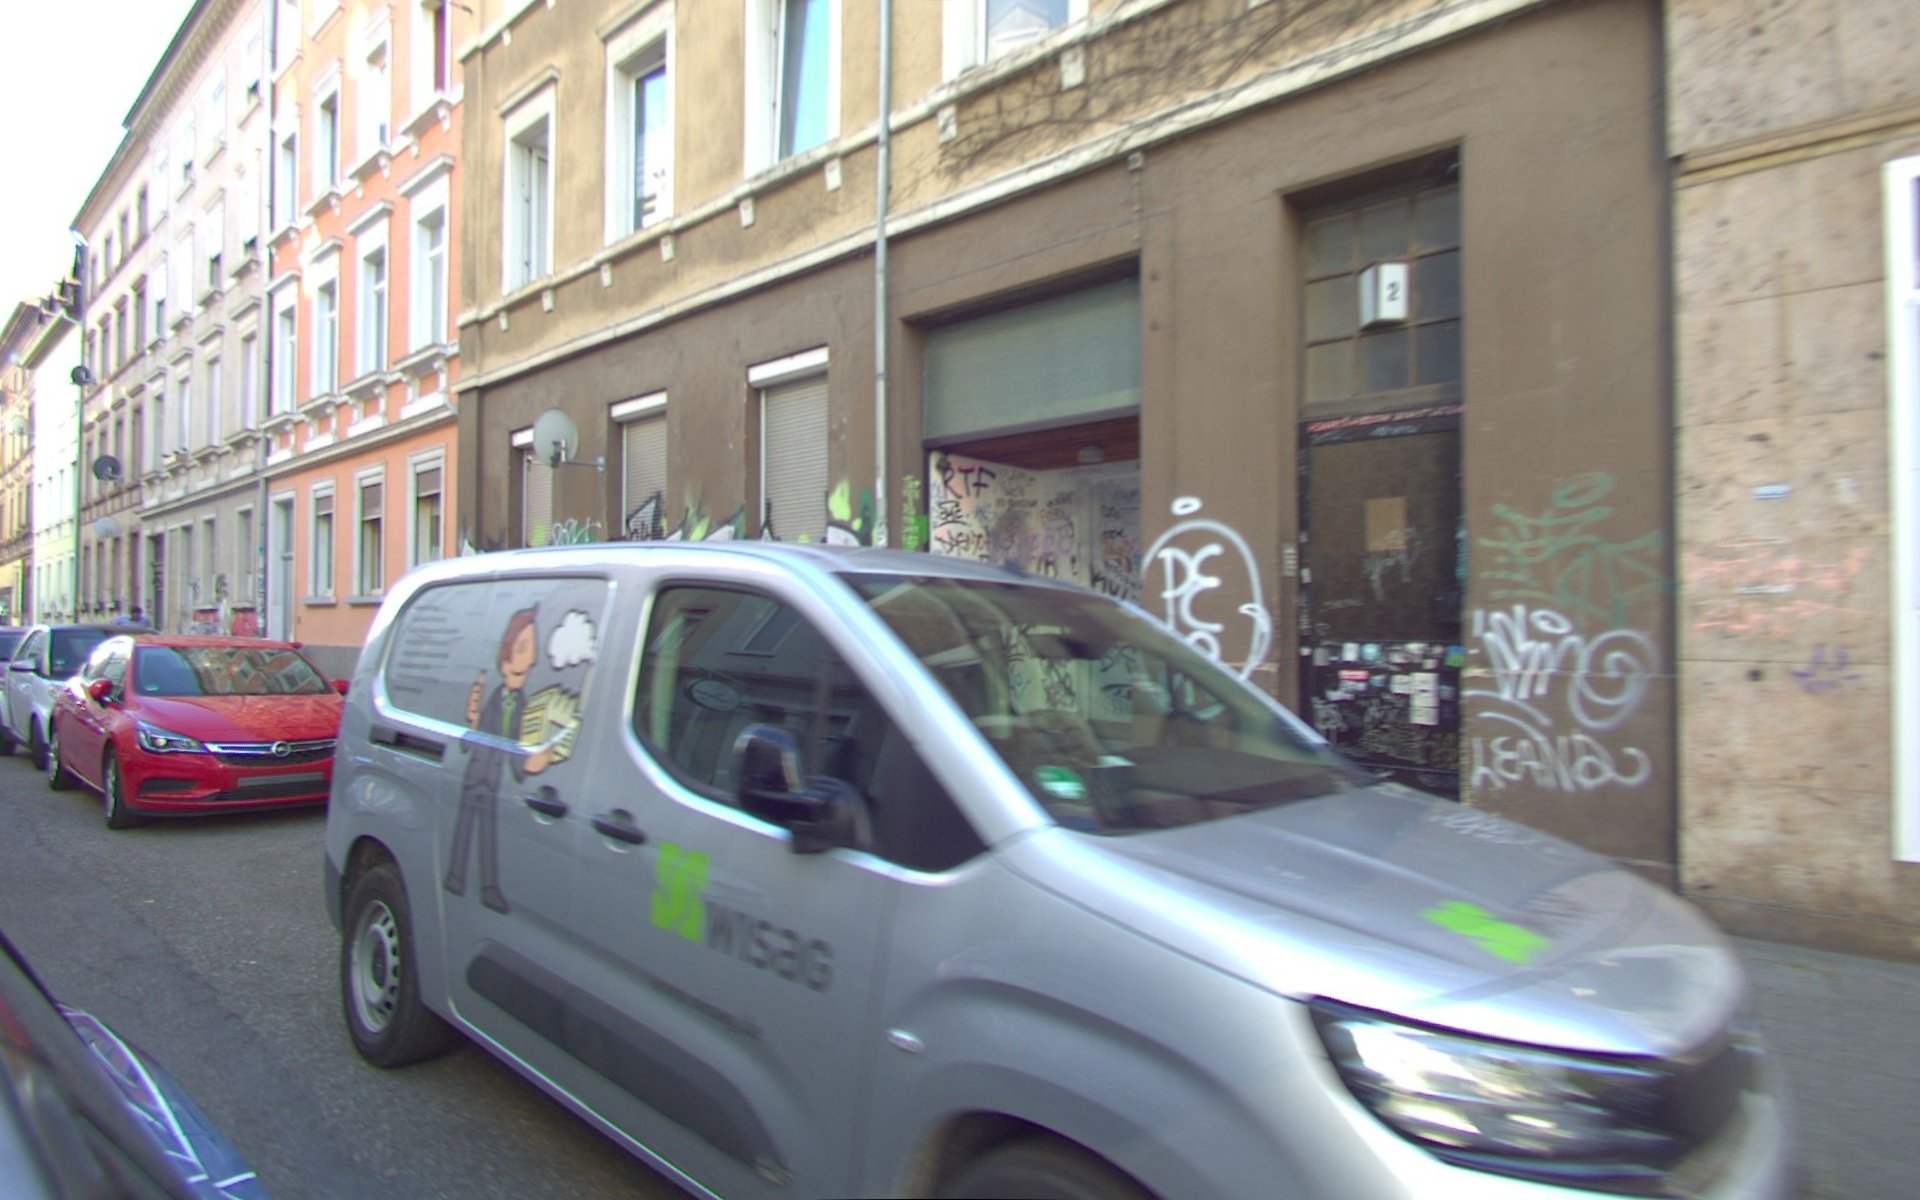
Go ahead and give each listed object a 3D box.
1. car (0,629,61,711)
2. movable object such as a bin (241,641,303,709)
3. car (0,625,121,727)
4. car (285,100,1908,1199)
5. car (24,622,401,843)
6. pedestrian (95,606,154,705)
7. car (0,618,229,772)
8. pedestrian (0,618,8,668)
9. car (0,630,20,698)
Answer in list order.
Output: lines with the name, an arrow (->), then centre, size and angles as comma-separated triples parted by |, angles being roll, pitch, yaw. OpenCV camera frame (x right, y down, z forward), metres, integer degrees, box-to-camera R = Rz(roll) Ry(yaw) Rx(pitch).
car -> -18.888, 1.295, 19.620 | 4.311, 1.474, 1.661 | -2, -2, 42
movable object such as a bin -> -11.487, 1.232, 16.887 | 0.768, 1.057, 0.663 | -2, 0, -41
car -> -15.231, 1.169, 16.537 | 3.608, 1.504, 1.662 | -2, -2, 39
car -> -0.301, 0.590, 3.029 | 4.517, 1.925, 1.661 | -2, -5, 42
car -> -6.652, 0.977, 8.834 | 4.200, 1.485, 1.662 | -1, -4, 40
pedestrian -> -16.026, 1.038, 19.416 | 0.594, 1.844, 0.780 | -2, -1, 41
car -> -10.086, 1.026, 11.841 | 2.955, 1.561, 1.663 | -1, -3, 38
pedestrian -> -35.616, 1.584, 37.376 | 0.594, 1.844, 0.618 | -2, -1, 42
car -> -22.565, 1.416, 22.989 | 1.659, 1.474, 3.862 | 2, -2, -44
